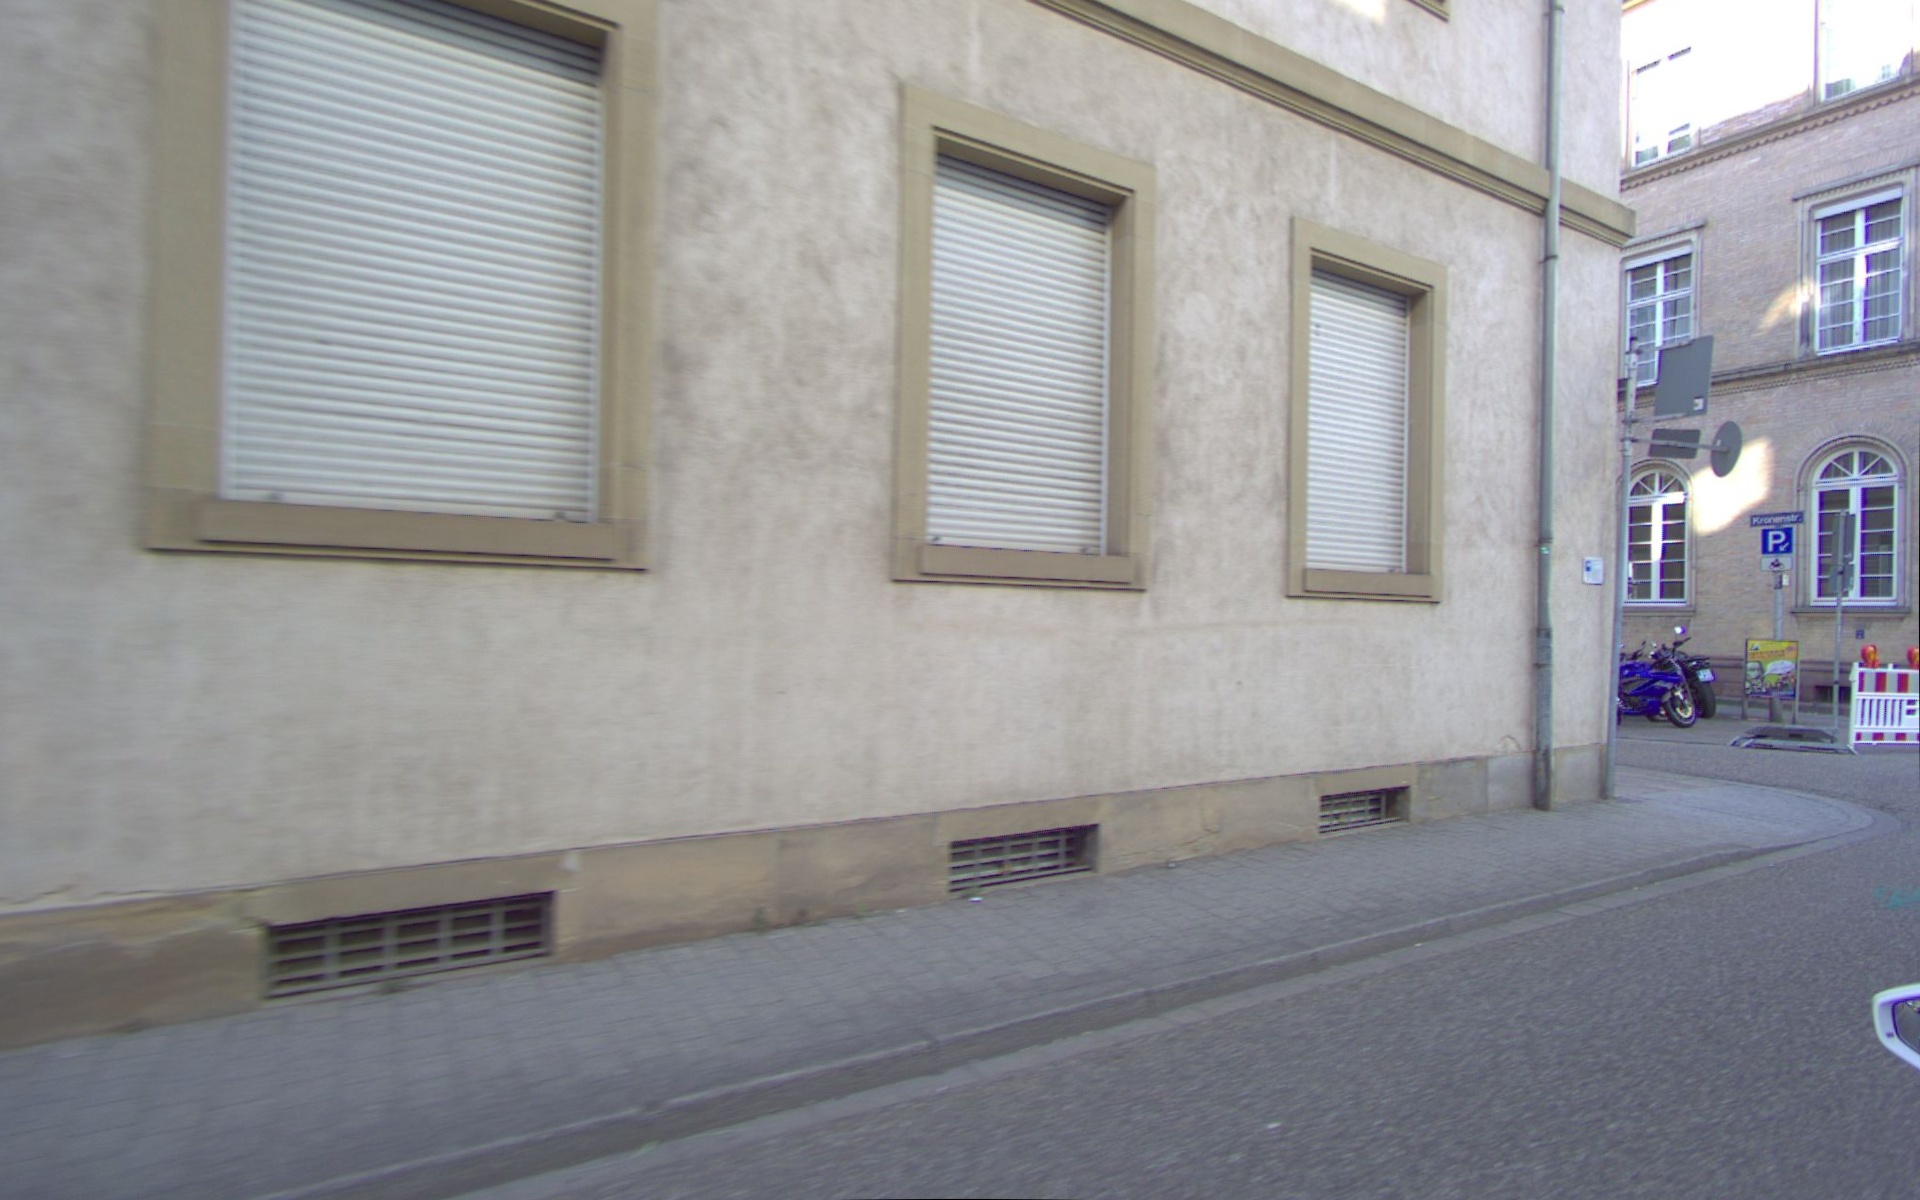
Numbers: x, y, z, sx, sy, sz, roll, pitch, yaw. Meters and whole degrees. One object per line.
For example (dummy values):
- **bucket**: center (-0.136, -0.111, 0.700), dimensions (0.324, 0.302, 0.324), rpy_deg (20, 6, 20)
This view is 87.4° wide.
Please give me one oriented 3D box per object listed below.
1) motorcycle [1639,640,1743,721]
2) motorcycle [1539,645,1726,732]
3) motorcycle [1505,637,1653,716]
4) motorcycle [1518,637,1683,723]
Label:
- **motorcycle**: center (11.944, 1.273, 16.499), dimensions (0.647, 1.189, 2.202), rpy_deg (0, -1, 16)
- **motorcycle**: center (9.972, 1.292, 14.966), dimensions (2.237, 1.189, 0.588), rpy_deg (0, 2, 11)
- **motorcycle**: center (10.605, 1.296, 17.285), dimensions (2.085, 1.291, 0.588), rpy_deg (0, -1, 15)
- **motorcycle**: center (10.307, 1.264, 16.236), dimensions (2.156, 1.311, 0.588), rpy_deg (0, -1, 16)
